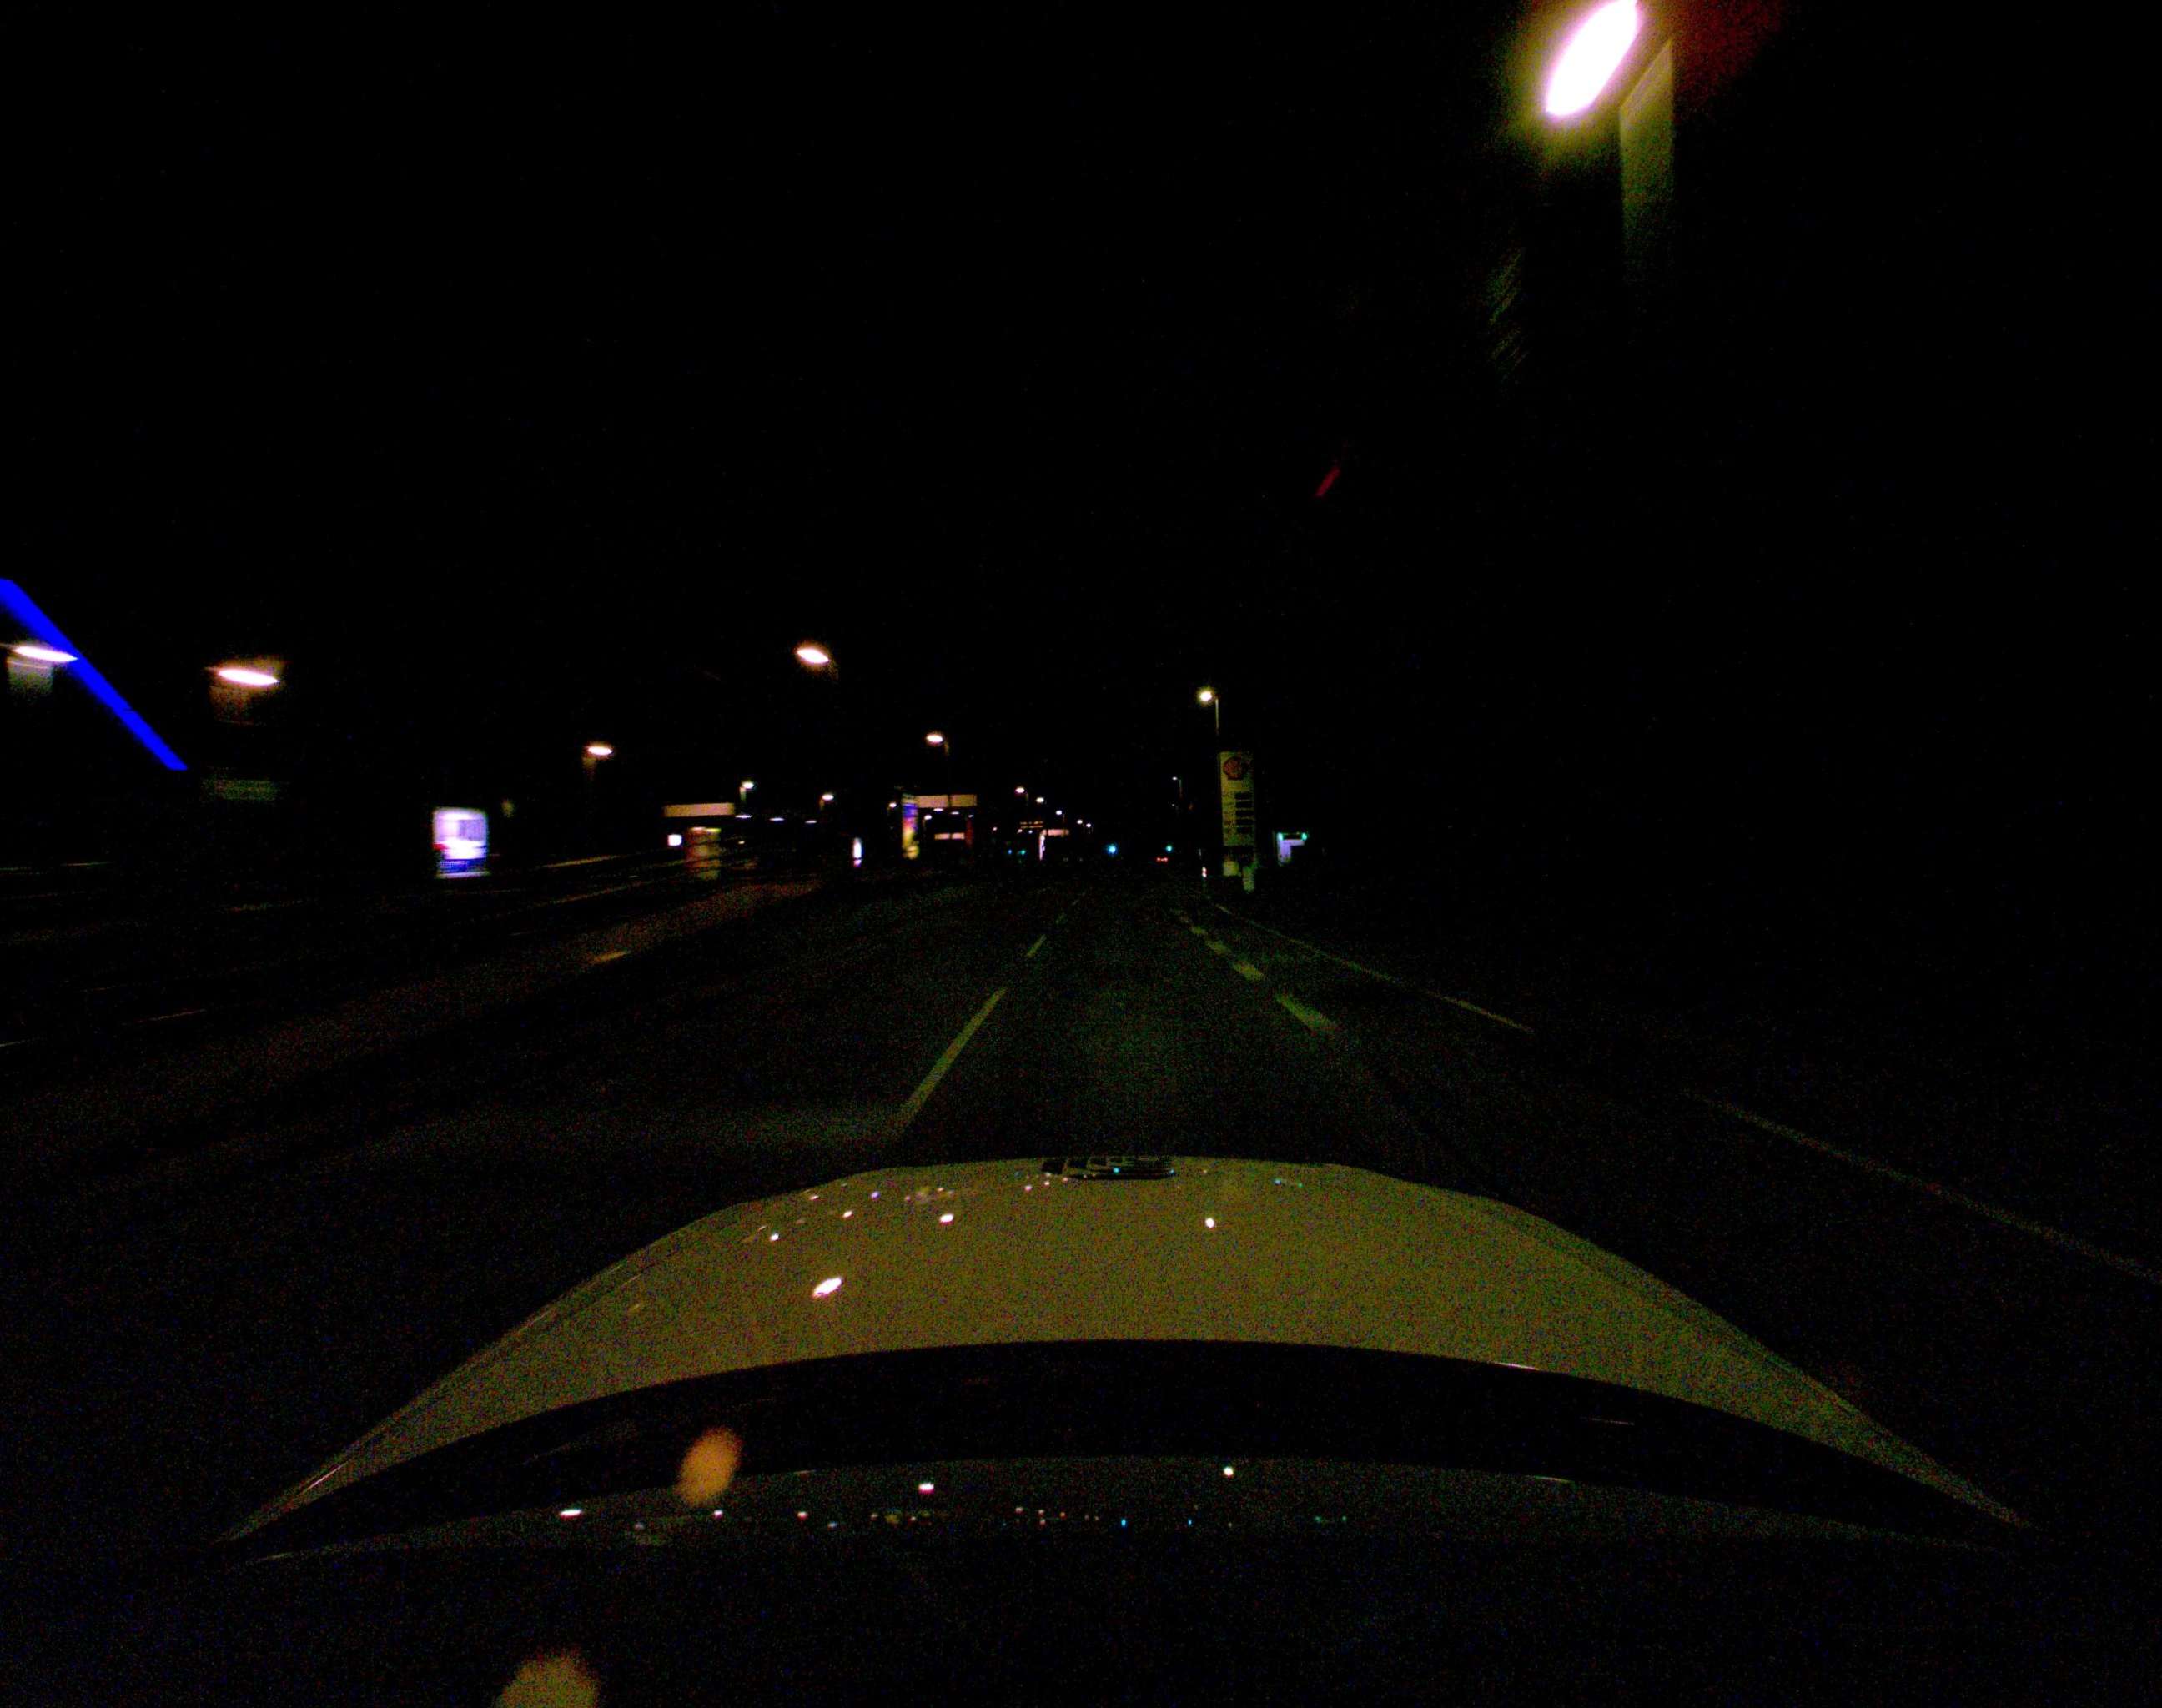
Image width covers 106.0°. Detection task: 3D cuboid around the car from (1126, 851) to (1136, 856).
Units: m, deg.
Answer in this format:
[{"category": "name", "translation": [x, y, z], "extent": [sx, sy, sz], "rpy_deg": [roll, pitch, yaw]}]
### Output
[{"category": "car", "translation": [14.411, -0.067, 234.516], "extent": [1.981, 1.338, 5.447], "rpy_deg": [-1, 0, 10]}]

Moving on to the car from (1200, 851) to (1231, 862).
[{"category": "car", "translation": [17.100, 0.313, 103.503], "extent": [3.743, 1.354, 1.863], "rpy_deg": [-2, 0, 7]}]

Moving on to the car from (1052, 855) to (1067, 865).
[{"category": "car", "translation": [-3.500, 1.006, 134.334], "extent": [1.636, 1.339, 4.555], "rpy_deg": [-6, -1, 9]}]

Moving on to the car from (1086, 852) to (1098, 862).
[{"category": "car", "translation": [2.352, 0.546, 167.413], "extent": [1.847, 1.904, 4.890], "rpy_deg": [-1, 0, 8]}]

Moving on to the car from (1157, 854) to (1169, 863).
[{"category": "car", "translation": [15.256, 0.834, 150.975], "extent": [2.151, 1.583, 4.020], "rpy_deg": [-2, 0, 6]}]

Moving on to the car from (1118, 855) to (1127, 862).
[{"category": "car", "translation": [10.993, 1.125, 215.071], "extent": [1.981, 1.628, 4.690], "rpy_deg": [-2, 0, 10]}]
